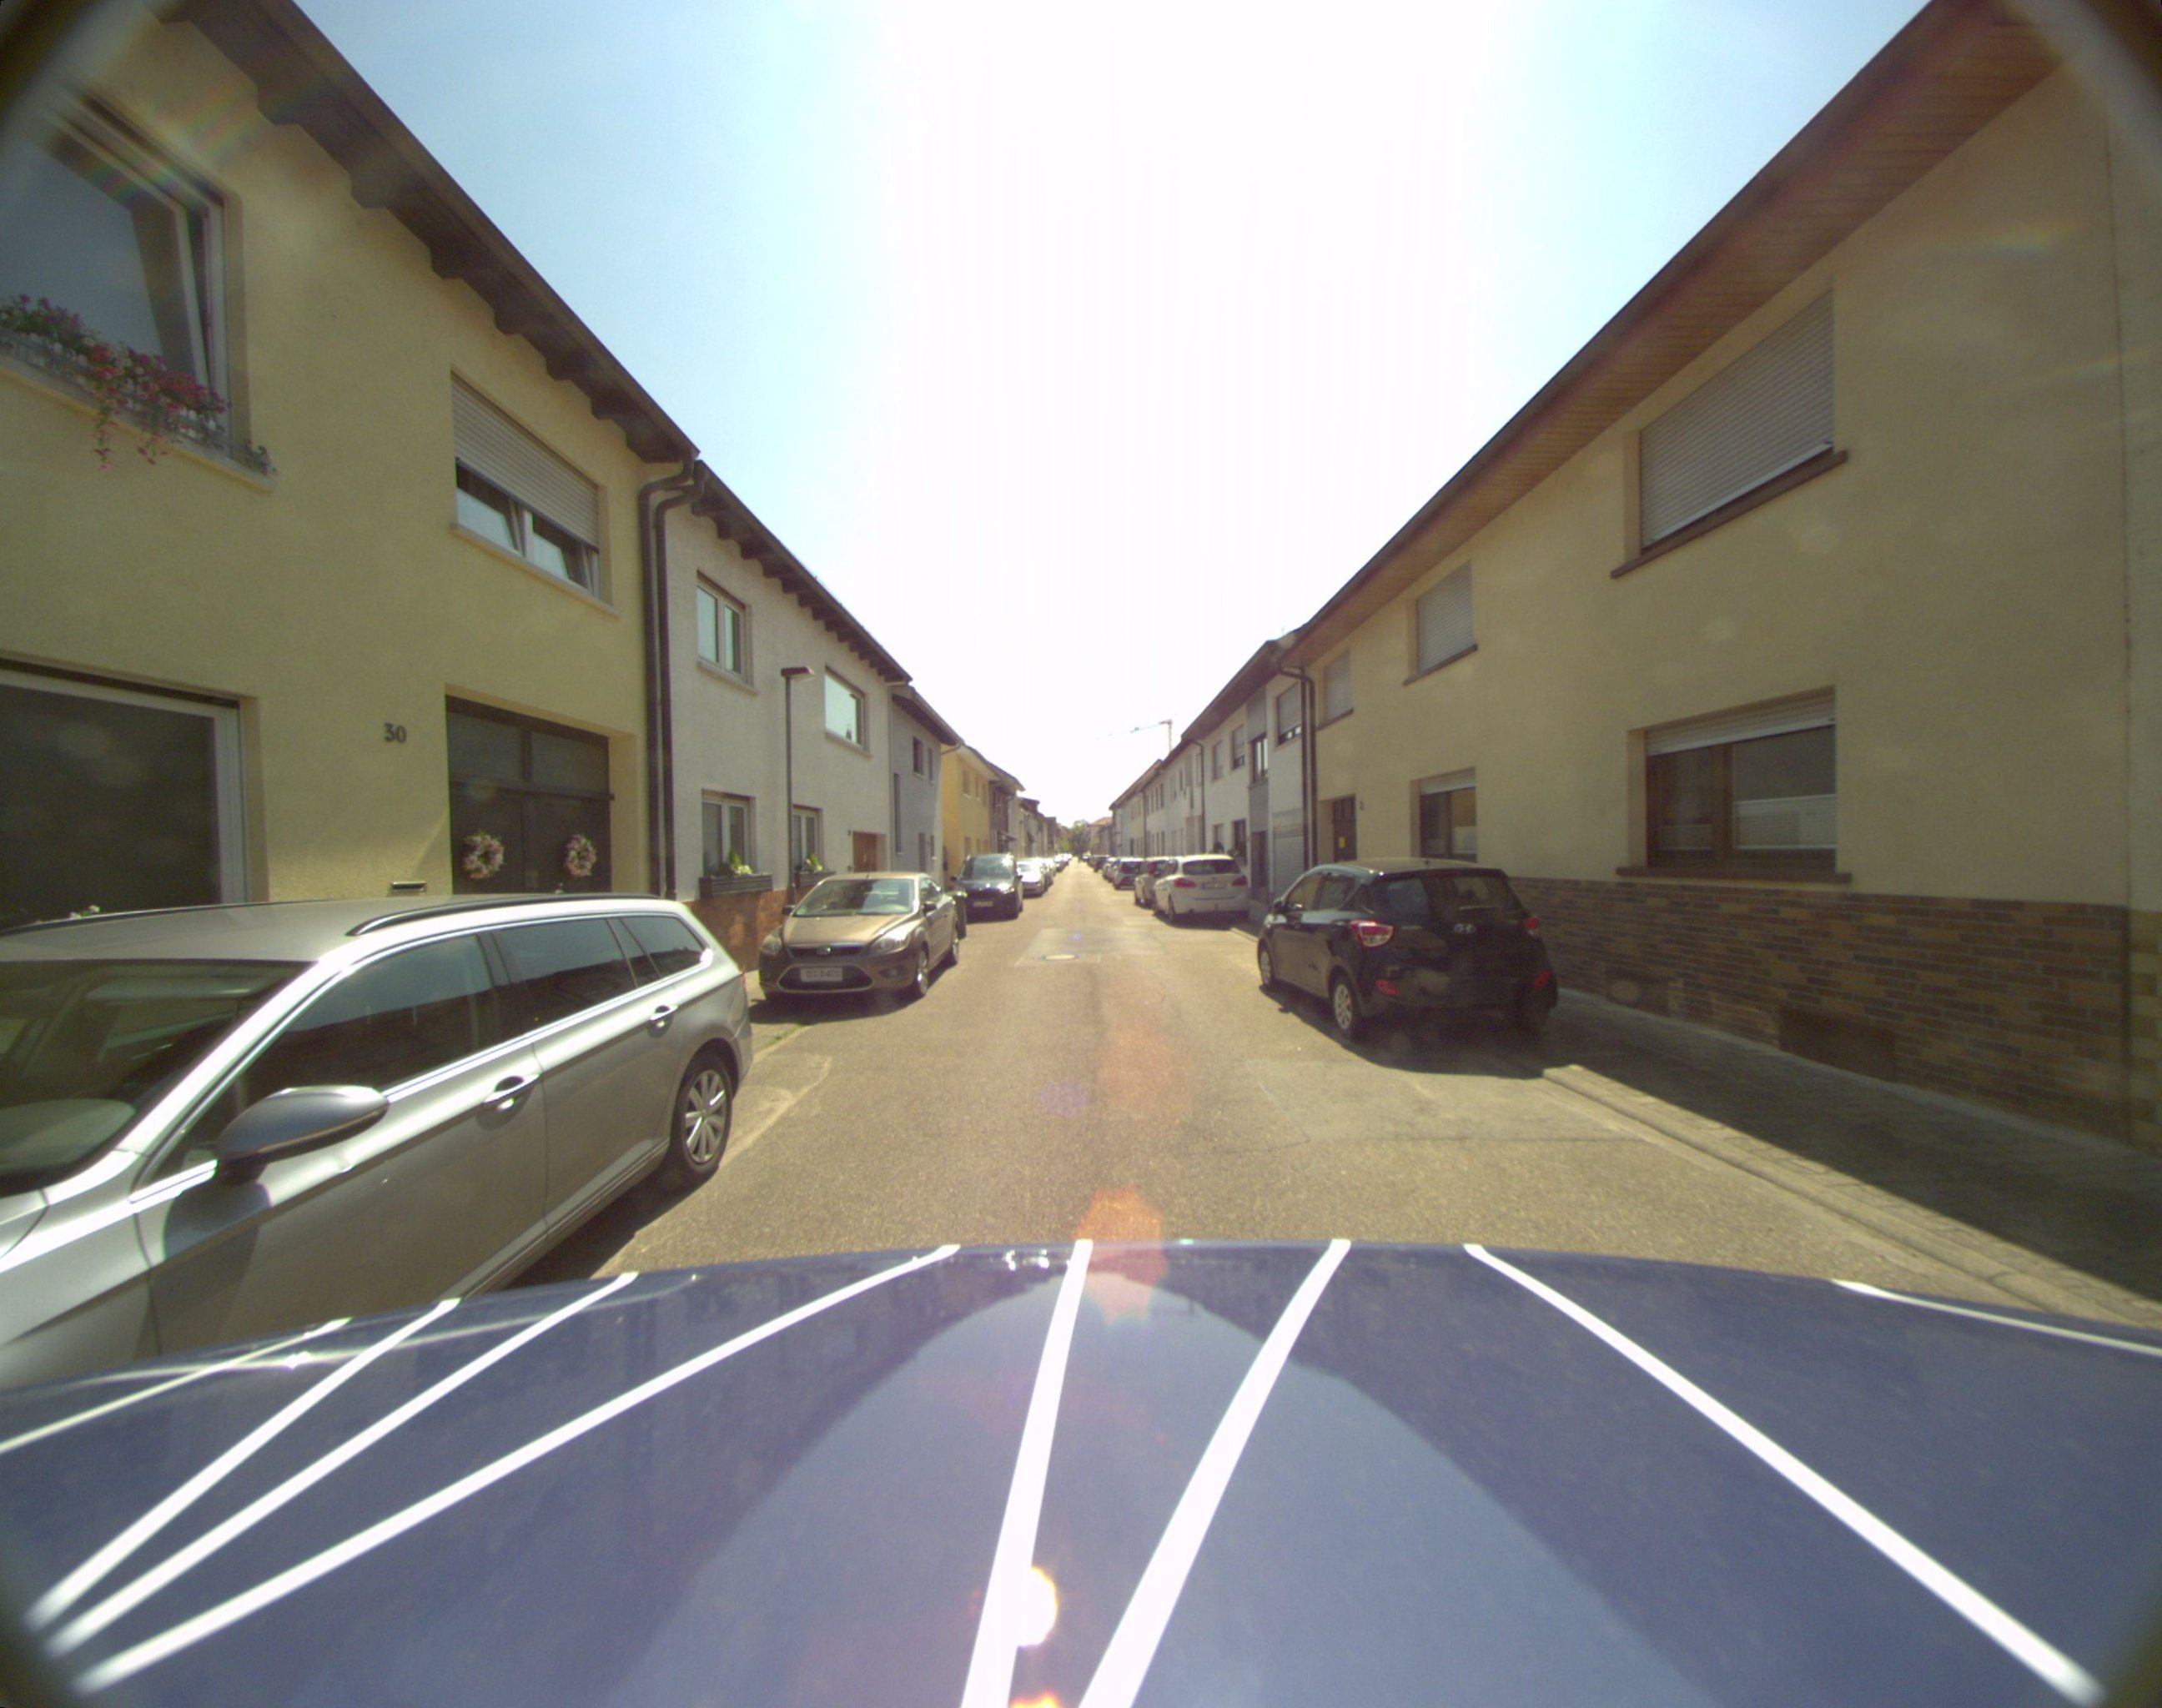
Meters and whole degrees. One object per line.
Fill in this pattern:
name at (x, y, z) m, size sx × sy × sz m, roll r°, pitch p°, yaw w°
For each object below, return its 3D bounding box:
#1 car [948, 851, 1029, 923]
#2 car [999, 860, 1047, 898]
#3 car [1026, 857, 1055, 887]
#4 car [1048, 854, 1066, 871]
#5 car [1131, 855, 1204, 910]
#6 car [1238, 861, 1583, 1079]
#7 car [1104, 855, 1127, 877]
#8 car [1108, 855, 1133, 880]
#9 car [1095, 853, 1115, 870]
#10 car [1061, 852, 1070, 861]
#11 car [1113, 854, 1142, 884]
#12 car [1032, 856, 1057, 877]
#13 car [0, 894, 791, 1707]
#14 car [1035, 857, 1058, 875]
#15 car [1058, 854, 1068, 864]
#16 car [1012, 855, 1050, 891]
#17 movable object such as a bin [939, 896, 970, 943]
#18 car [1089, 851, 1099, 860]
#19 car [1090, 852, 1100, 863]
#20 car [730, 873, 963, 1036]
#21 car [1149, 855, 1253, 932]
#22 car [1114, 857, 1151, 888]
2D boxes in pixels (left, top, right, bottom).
car at (-2.443, 0.813, 21.013) m, size 1.701 × 1.767 × 4.199 m, roll 0°, pitch 1°, yaw 0°
car at (-2.348, 0.991, 31.543) m, size 1.666 × 1.406 × 4.247 m, roll -1°, pitch 0°, yaw -1°
car at (-2.233, 0.959, 42.451) m, size 1.403 × 1.518 × 3.397 m, roll -3°, pitch 1°, yaw -1°
car at (-2.413, 0.844, 76.926) m, size 1.736 × 1.502 × 3.623 m, roll -3°, pitch 1°, yaw 0°
car at (2.650, 0.835, 24.052) m, size 1.667 × 1.532 × 3.687 m, roll -2°, pitch 0°, yaw -3°
car at (2.851, 0.876, 7.591) m, size 1.644 × 1.528 × 3.941 m, roll -1°, pitch 0°, yaw -2°
car at (2.354, 0.815, 52.409) m, size 1.414 × 1.446 × 3.542 m, roll -1°, pitch 0°, yaw 1°
car at (2.395, 0.819, 46.650) m, size 1.414 × 1.446 × 3.462 m, roll -1°, pitch 0°, yaw 1°
car at (2.289, 0.698, 73.796) m, size 1.819 × 1.598 × 3.887 m, roll -1°, pitch 0°, yaw -1°
car at (-2.691, 0.418, 130.893) m, size 1.414 × 1.604 × 3.323 m, roll -1°, pitch 1°, yaw 0°
car at (2.489, 0.797, 41.452) m, size 1.414 × 1.519 × 3.025 m, roll -1°, pitch 1°, yaw 1°
car at (-2.752, 0.944, 58.493) m, size 1.743 × 1.460 × 4.044 m, roll -3°, pitch 1°, yaw -1°
car at (-2.687, 1.023, 2.290) m, size 1.843 × 1.440 × 4.775 m, roll -3°, pitch 0°, yaw -2°
car at (-2.887, 0.964, 64.012) m, size 1.761 × 1.351 × 4.045 m, roll -3°, pitch 1°, yaw 0°
car at (-2.626, 0.692, 112.310) m, size 1.414 × 1.389 × 3.323 m, roll -1°, pitch 0°, yaw 0°
car at (-2.373, 0.884, 36.823) m, size 1.684 × 1.575 × 3.961 m, roll -2°, pitch 1°, yaw -2°
movable object such as a bin at (-2.585, 1.334, 15.564) m, size 0.551 × 0.886 × 0.579 m, roll -2°, pitch 1°, yaw -7°
car at (2.063, 0.258, 121.414) m, size 1.414 × 1.389 × 3.323 m, roll -1°, pitch 0°, yaw 0°
car at (2.046, 0.503, 114.236) m, size 1.414 × 1.582 × 3.323 m, roll -1°, pitch 1°, yaw 0°
car at (-2.652, 1.054, 9.625) m, size 1.701 × 1.427 × 4.102 m, roll -3°, pitch 0°, yaw -2°
car at (2.798, 0.870, 18.579) m, size 1.667 × 1.540 × 3.941 m, roll -3°, pitch 1°, yaw -3°
car at (2.444, 0.868, 36.612) m, size 1.606 × 1.434 × 3.214 m, roll -1°, pitch 0°, yaw 1°
